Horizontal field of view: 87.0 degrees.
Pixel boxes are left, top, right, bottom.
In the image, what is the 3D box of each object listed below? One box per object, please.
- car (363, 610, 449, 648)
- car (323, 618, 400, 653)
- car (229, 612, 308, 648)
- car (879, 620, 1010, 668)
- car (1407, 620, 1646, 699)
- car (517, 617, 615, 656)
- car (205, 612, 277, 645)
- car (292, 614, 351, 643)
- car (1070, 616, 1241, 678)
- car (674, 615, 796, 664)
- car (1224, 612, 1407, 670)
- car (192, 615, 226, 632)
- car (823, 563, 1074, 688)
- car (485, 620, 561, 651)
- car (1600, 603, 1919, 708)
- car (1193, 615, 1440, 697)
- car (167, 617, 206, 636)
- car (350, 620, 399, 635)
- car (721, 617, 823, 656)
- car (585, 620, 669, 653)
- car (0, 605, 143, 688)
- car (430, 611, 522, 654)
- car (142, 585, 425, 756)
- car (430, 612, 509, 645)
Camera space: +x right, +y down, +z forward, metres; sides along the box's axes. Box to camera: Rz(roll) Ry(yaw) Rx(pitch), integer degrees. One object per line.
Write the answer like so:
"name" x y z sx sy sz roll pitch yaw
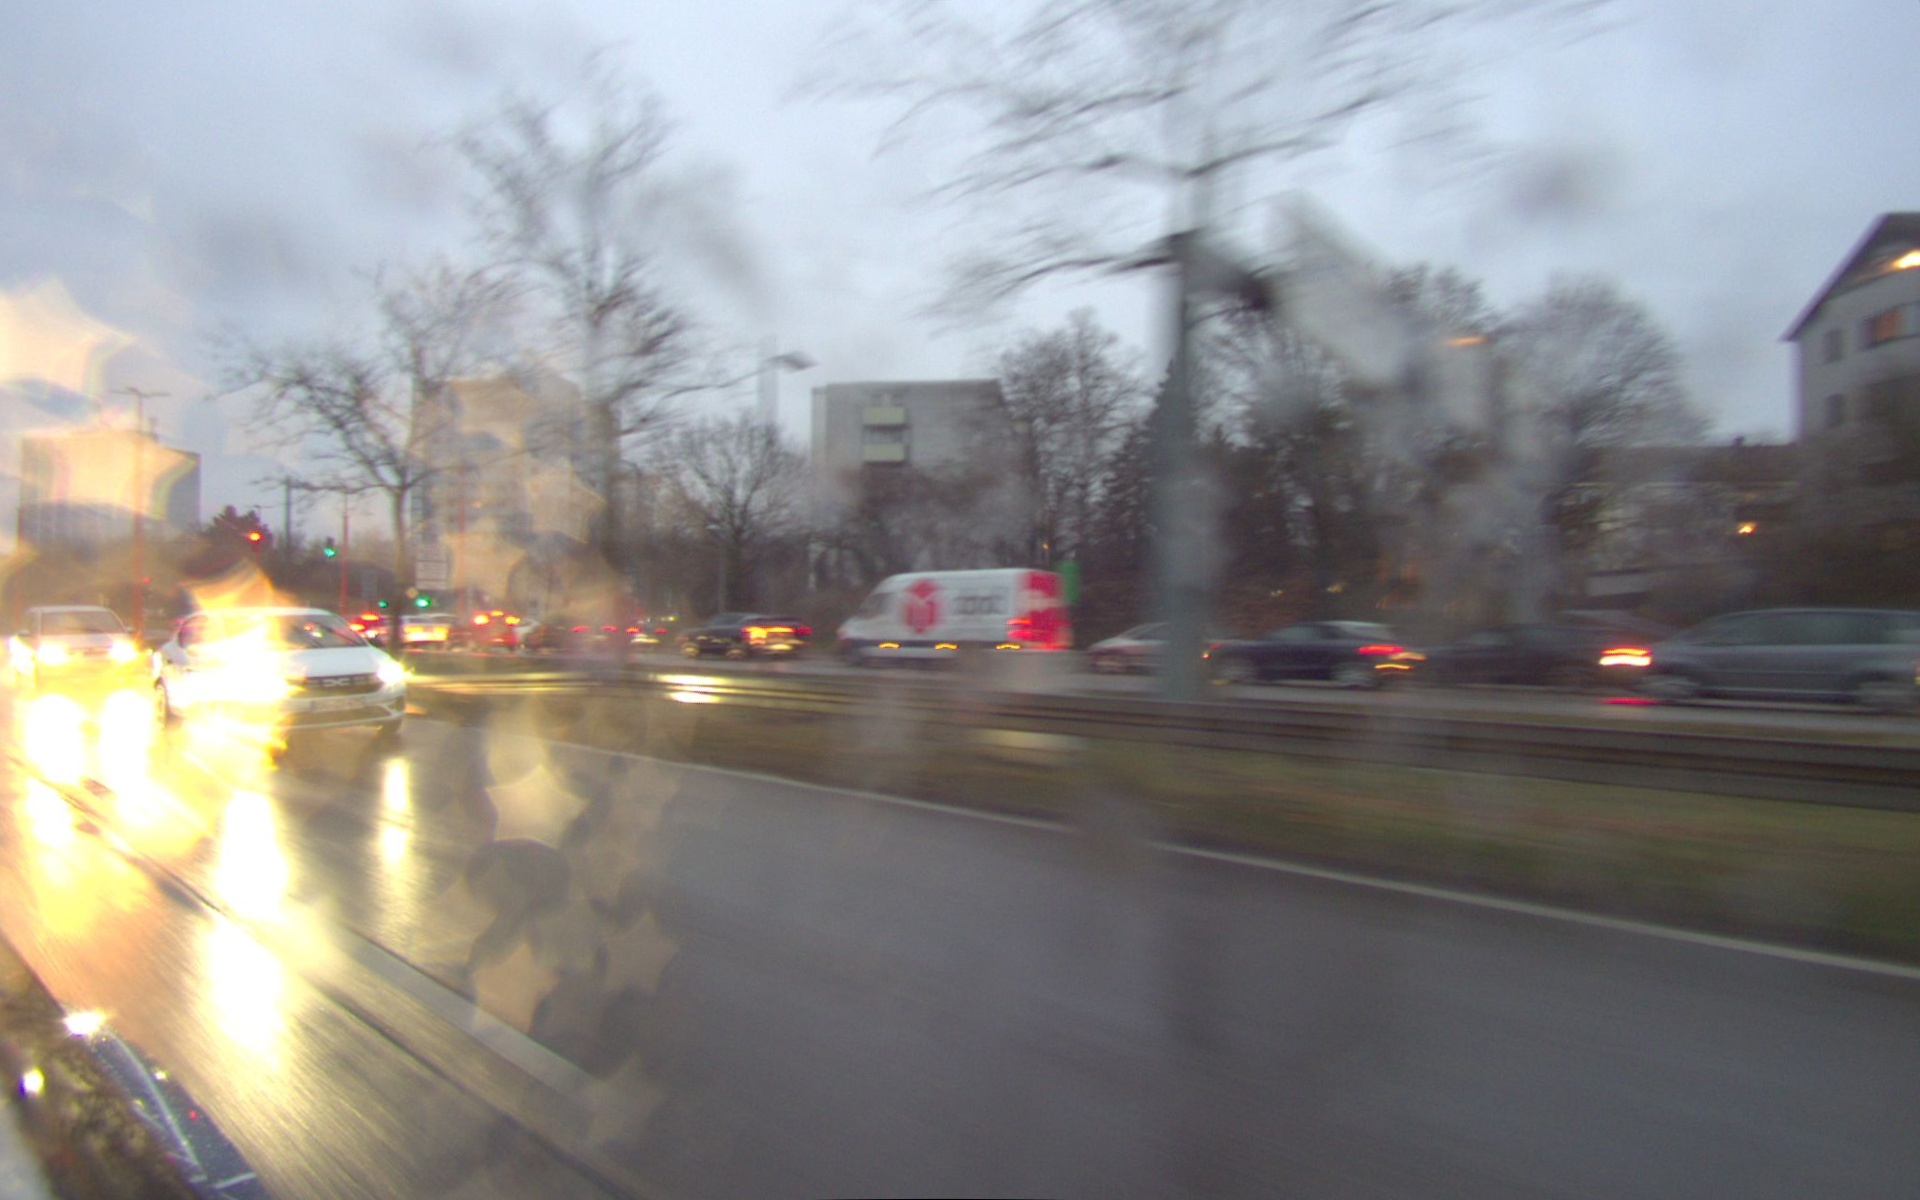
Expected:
"car" -23.990 1.241 43.766 4.521 1.545 1.752 -1 -2 40
"car" -28.547 1.656 48.251 4.283 1.611 1.838 -1 -2 40
"car" -32.012 1.362 46.801 4.836 1.548 1.752 -1 -2 40
"car" -0.518 1.333 31.897 3.997 1.409 1.738 -1 -1 40
"car" 11.872 1.177 21.355 4.169 1.457 1.718 0 0 41
"car" -16.259 1.458 41.649 4.646 1.501 1.752 -1 -2 40
"car" -36.608 1.425 51.516 4.073 1.594 1.839 -1 -1 37
"car" -33.192 1.462 52.603 3.323 1.431 1.635 -1 -2 40
"car" 5.144 1.188 26.909 4.087 1.457 1.884 0 0 41
"car" -7.576 1.287 33.901 4.444 1.548 1.751 -1 -2 42
"car" 9.830 1.088 28.169 4.439 1.457 1.884 0 0 41
"car" -68.640 2.173 92.455 4.013 1.506 1.602 -1 -2 40
"car" -0.515 0.598 27.874 7.345 3.027 2.267 0 1 42
"car" -22.237 1.758 51.391 4.436 1.506 1.752 -1 -2 40
"car" 12.809 0.786 15.914 4.439 1.457 1.884 0 0 41
"car" 7.245 1.061 20.893 1.882 1.457 4.458 0 0 -45
"car" -64.419 2.169 84.293 3.943 1.565 1.752 -1 -2 39
"car" -60.327 2.822 104.428 1.834 1.556 4.421 0 -1 13
"car" -7.277 1.381 38.996 3.997 1.409 1.738 -1 -1 40
"car" -14.969 1.596 45.404 3.997 1.409 1.738 -1 -1 40
"car" -18.788 0.901 21.293 4.186 1.551 1.673 -1 0 40
"car" -18.917 1.247 39.489 4.030 1.598 1.752 -1 -2 40
"car" -8.014 0.707 11.842 4.144 1.660 1.696 0 -1 41
"car" -23.665 1.348 48.787 4.436 1.506 1.752 -1 -2 40
